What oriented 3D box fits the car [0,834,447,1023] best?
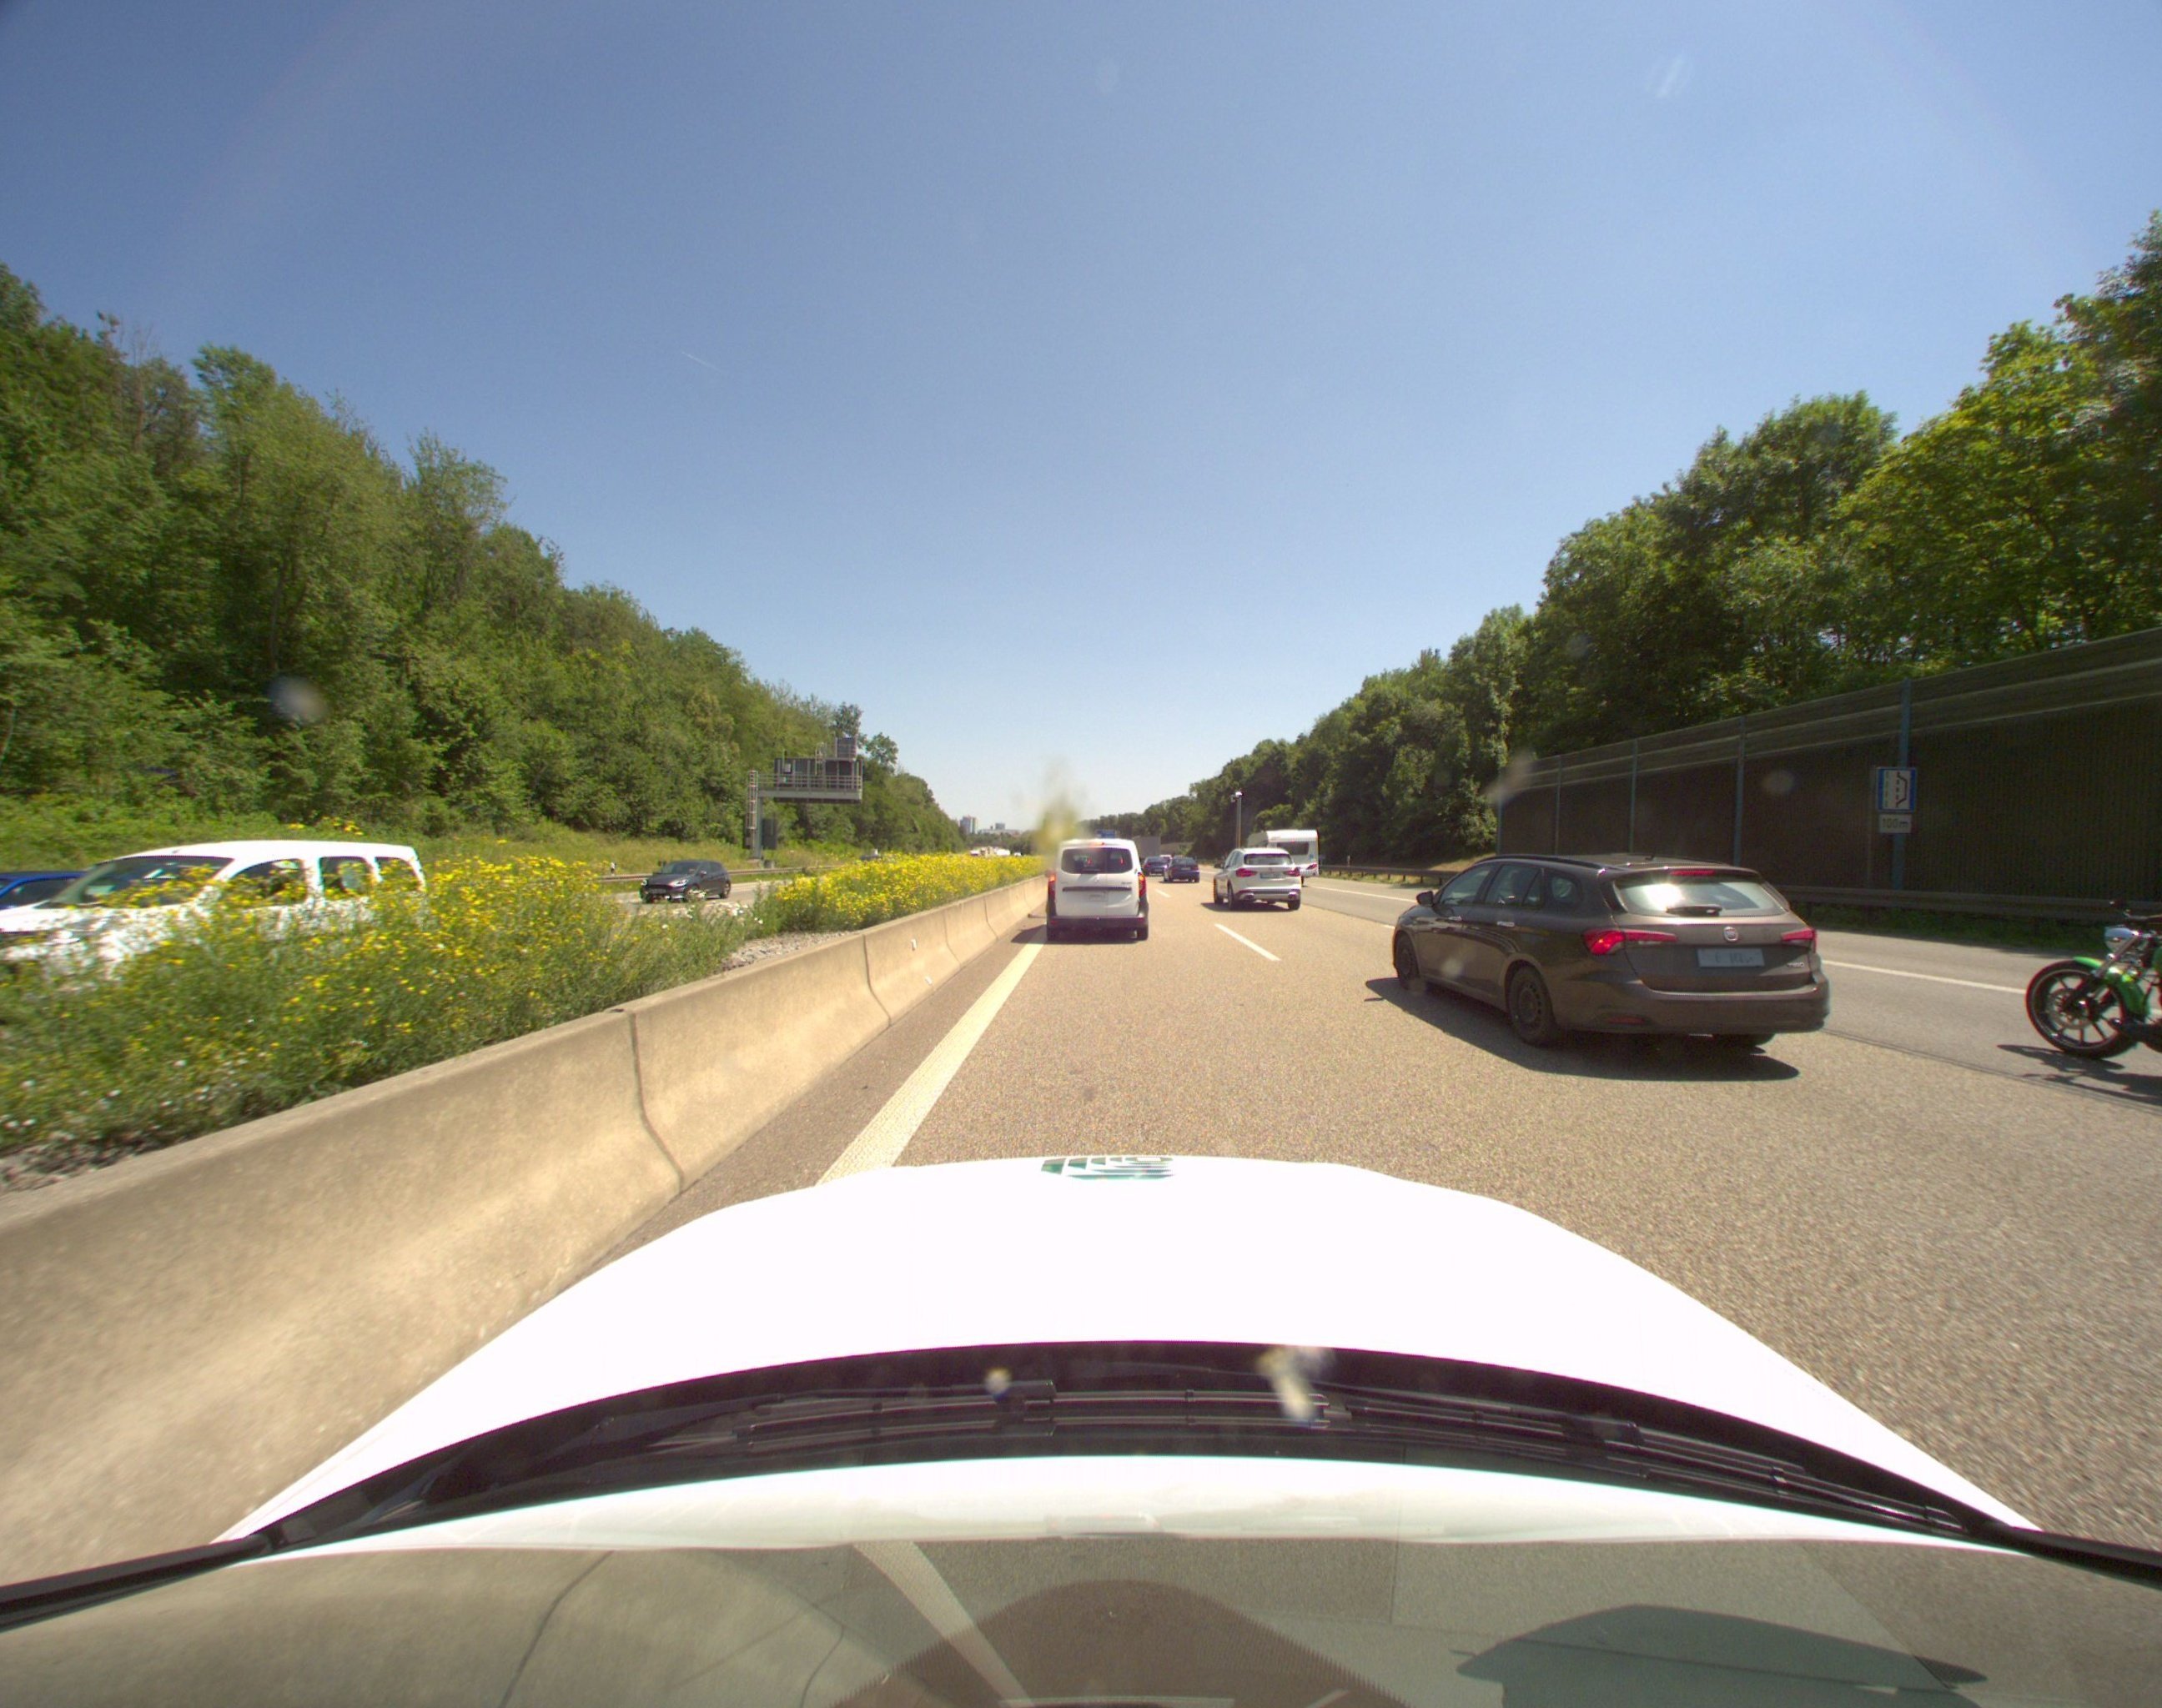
[{"bbox_3d":[-10.240,0.697,9.737,1.878,1.755,4.278,-1,0,2],"label":"car"}]

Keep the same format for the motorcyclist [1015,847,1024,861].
[{"bbox_3d":[-8.320,-0.020,110.428,1.028,1.786,1.284,-1,0,1],"label":"motorcyclist"}]

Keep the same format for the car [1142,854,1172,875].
[{"bbox_3d":[5.463,0.720,58.905,1.817,1.424,4.001,-1,0,1],"label":"car"}]

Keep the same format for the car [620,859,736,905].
[{"bbox_3d":[-14.033,0.923,28.650,1.986,1.444,4.008,-1,0,2],"label":"car"}]

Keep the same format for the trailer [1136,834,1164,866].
[{"bbox_3d":[9.057,-0.456,108.094,3.071,3.985,10.324,-1,0,1],"label":"trailer"}]

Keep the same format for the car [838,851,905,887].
[{"bbox_3d":[-9.847,0.681,38.582,1.986,1.572,4.066,-1,0,2],"label":"car"}]

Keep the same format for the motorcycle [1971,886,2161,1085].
[{"bbox_3d":[7.169,0.845,5.097,0.855,1.181,2.280,0,0,5],"label":"motorcycle"}]

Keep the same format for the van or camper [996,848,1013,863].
[{"bbox_3d":[-13.708,0.272,146.018,2.301,2.636,7.398,-1,0,0],"label":"van or camper"}]

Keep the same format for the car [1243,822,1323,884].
[{"bbox_3d":[9.691,-0.056,39.675,2.470,2.766,6.221,-1,0,1],"label":"car"}]

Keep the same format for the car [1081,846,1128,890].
[{"bbox_3d":[1.041,0.610,37.094,1.986,1.860,4.001,-1,0,1],"label":"car"}]

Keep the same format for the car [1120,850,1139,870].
[{"bbox_3d":[5.062,0.642,85.604,1.817,1.989,4.001,-1,0,1],"label":"car"}]

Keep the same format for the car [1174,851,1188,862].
[{"bbox_3d":[15.047,0.371,122.791,1.781,1.519,4.001,-1,0,1],"label":"car"}]

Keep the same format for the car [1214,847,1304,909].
[{"bbox_3d":[4.929,0.609,23.023,1.864,1.608,3.881,0,0,2],"label":"car"}]

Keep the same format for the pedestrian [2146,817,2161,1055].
[{"bbox_3d":[7.137,0.512,4.804,0.847,1.478,0.639,0,0,5],"label":"pedestrian"}]

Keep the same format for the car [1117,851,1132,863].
[{"bbox_3d":[5.569,0.373,105.193,1.817,1.447,4.001,-1,0,1],"label":"car"}]

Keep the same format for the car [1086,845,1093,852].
[{"bbox_3d":[2.496,-1.452,231.414,1.986,2.013,4.001,-1,0,1],"label":"car"}]

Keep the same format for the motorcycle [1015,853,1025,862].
[{"bbox_3d":[-8.305,0.493,110.459,1.036,1.215,2.614,-1,0,1],"label":"motorcycle"}]

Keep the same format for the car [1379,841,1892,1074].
[{"bbox_3d":[4.396,0.653,7.479,1.831,1.513,4.403,0,0,1],"label":"car"}]

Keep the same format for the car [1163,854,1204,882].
[{"bbox_3d":[5.569,0.742,44.656,1.817,1.424,4.001,-1,0,1],"label":"car"}]

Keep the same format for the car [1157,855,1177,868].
[{"bbox_3d":[9.413,0.841,89.709,1.817,1.424,4.001,-1,0,1],"label":"car"}]

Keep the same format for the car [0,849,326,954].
[{"bbox_3d":[-17.640,0.767,15.494,1.986,1.692,4.769,-1,0,2],"label":"car"}]

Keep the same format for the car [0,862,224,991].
[{"bbox_3d":[-13.658,0.873,9.983,1.986,1.491,4.002,-1,0,2],"label":"car"}]

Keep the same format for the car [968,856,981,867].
[{"bbox_3d":[-16.867,1.227,129.092,1.751,1.696,4.418,-1,0,-2],"label":"car"}]

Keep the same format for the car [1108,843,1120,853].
[{"bbox_3d":[6.410,-1.121,159.408,1.989,2.013,3.996,-1,0,-3],"label":"car"}]

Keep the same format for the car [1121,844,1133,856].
[{"bbox_3d":[7.986,-0.734,142.728,1.986,2.013,4.001,-1,0,1],"label":"car"}]

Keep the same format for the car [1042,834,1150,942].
[{"bbox_3d":[0.272,0.577,15.744,1.796,1.808,4.000,-1,0,0],"label":"car"}]
